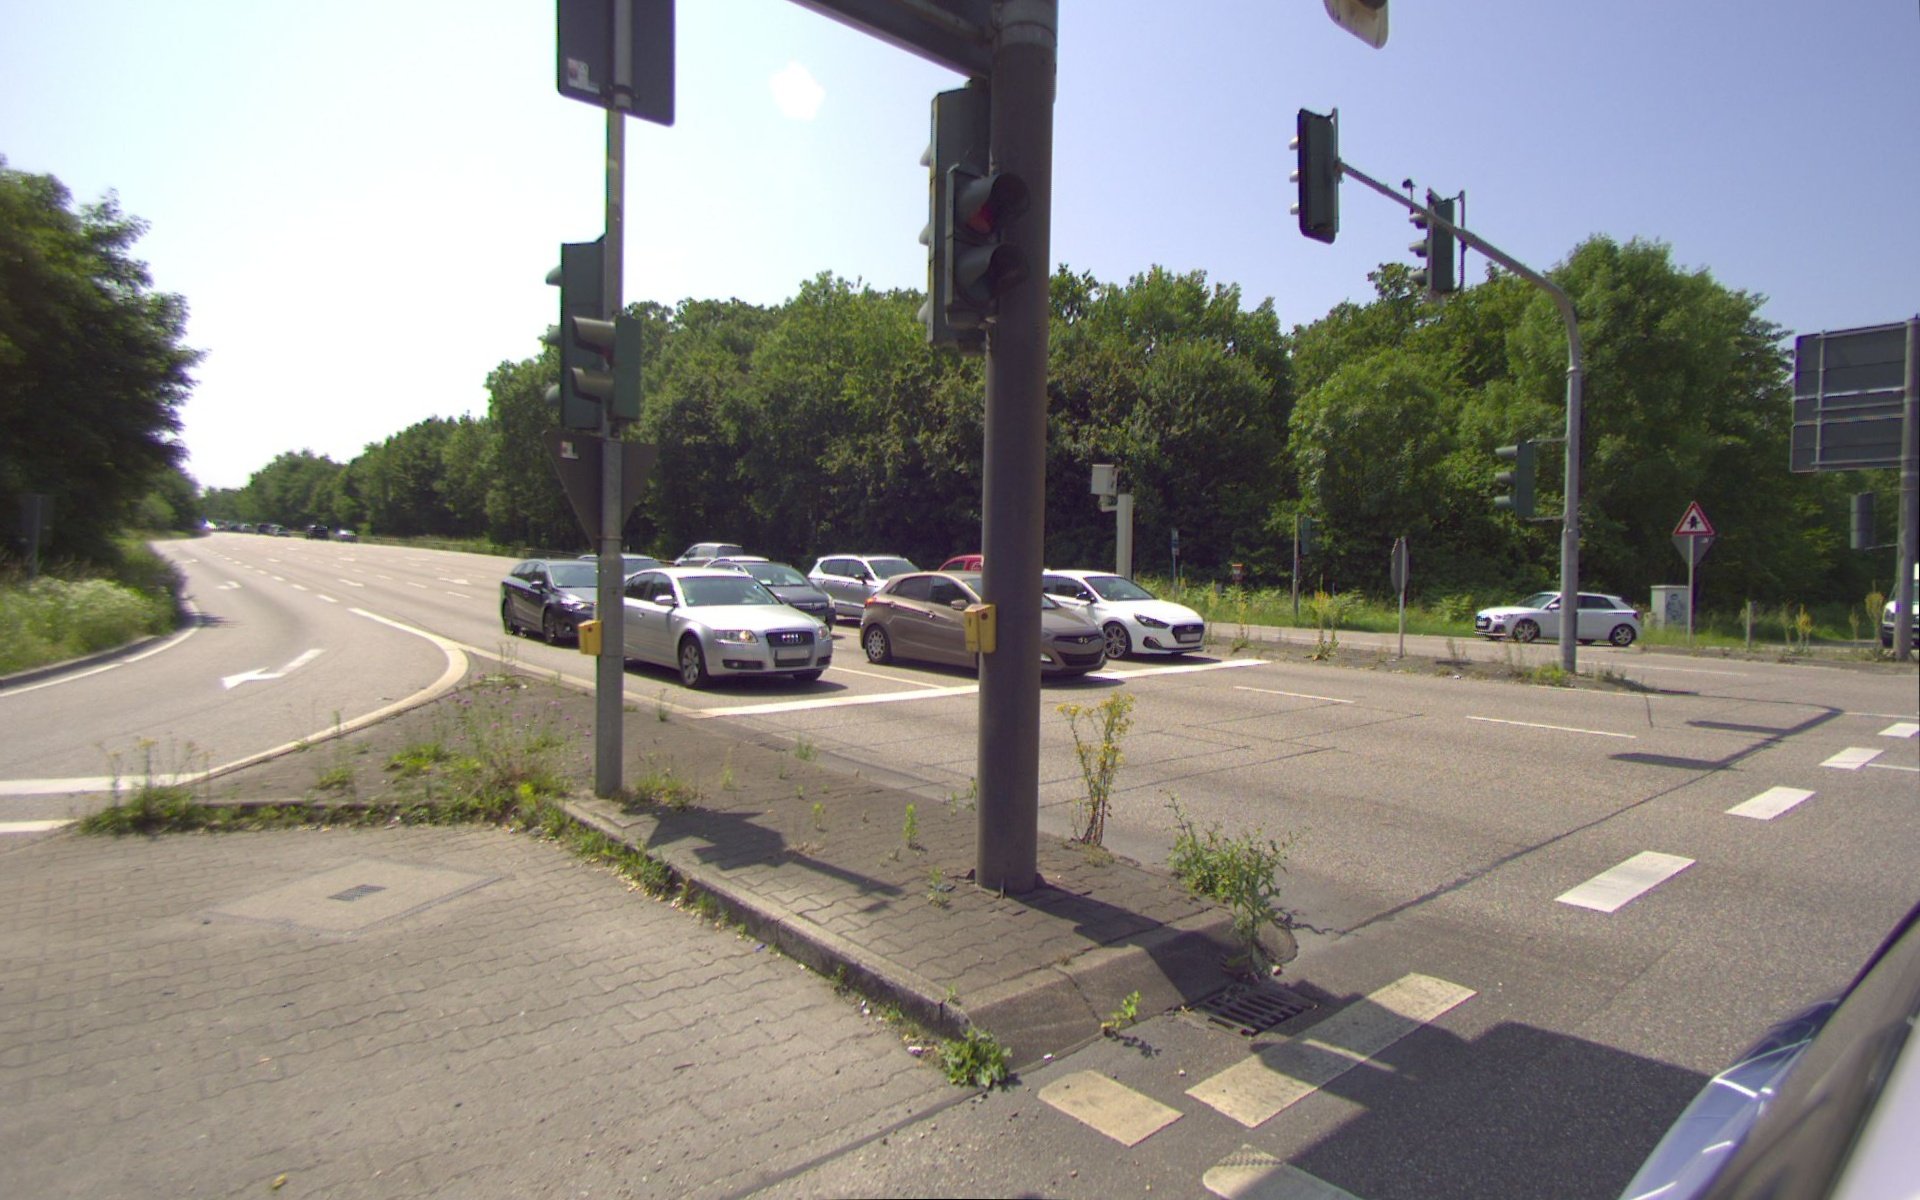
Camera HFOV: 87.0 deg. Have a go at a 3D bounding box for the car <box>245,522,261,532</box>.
[{"bbox_3d":[-115.437,-11.923,165.141,1.814,1.517,4.459,0,3,-39],"label":"car"}]

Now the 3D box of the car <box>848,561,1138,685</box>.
[{"bbox_3d":[0.356,0.220,14.798,1.961,1.464,4.099,0,3,-42],"label":"car"}]

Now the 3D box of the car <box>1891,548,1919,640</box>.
[{"bbox_3d":[30.627,-0.180,31.036,5.946,2.678,1.976,0,0,-36],"label":"car"}]

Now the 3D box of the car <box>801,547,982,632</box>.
[{"bbox_3d":[-1.629,-0.300,22.761,1.964,1.679,4.182,0,3,-40],"label":"car"}]

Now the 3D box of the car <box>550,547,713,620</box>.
[{"bbox_3d":[-8.185,-0.485,24.905,2.100,1.552,5.142,-1,4,-39],"label":"car"}]

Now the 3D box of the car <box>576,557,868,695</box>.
[{"bbox_3d":[-3.457,0.190,13.889,1.984,1.517,4.944,-1,3,-39],"label":"car"}]

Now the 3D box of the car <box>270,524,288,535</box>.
[{"bbox_3d":[-97.753,-10.076,145.236,1.814,1.517,4.459,0,3,-39],"label":"car"}]

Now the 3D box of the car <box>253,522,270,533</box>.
[{"bbox_3d":[-105.269,-10.900,152.521,1.814,1.517,4.459,0,3,-39],"label":"car"}]

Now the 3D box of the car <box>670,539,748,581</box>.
[{"bbox_3d":[-11.624,-1.829,46.733,1.732,1.795,4.104,1,1,-43],"label":"car"}]

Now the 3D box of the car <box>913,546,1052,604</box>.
[{"bbox_3d":[0.717,-0.853,34.235,4.467,1.845,1.775,1,0,35],"label":"car"}]

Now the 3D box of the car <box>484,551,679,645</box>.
[{"bbox_3d":[-7.277,-0.137,19.156,2.074,1.516,4.628,-1,3,-39],"label":"car"}]

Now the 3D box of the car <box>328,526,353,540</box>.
[{"bbox_3d":[-70.511,-7.567,115.175,1.814,1.517,4.459,0,3,-39],"label":"car"}]

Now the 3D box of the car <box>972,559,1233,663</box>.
[{"bbox_3d":[2.434,0.101,18.226,1.965,1.554,4.428,0,3,-41],"label":"car"}]

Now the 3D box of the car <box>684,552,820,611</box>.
[{"bbox_3d":[-5.857,-0.570,28.127,1.938,1.431,4.343,-1,4,-39],"label":"car"}]

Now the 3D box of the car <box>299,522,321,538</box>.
[{"bbox_3d":[-80.132,-8.610,124.782,1.814,1.772,4.459,0,3,-39],"label":"car"}]

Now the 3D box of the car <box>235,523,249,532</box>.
[{"bbox_3d":[-128.700,-12.956,181.372,1.814,1.517,4.459,0,3,-39],"label":"car"}]

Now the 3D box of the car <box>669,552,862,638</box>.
[{"bbox_3d":[-4.155,-0.193,21.092,2.085,1.554,4.430,-1,3,-40],"label":"car"}]

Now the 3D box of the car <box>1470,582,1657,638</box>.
[{"bbox_3d":[16.124,0.262,27.180,3.926,1.453,1.694,0,0,2],"label":"car"}]
